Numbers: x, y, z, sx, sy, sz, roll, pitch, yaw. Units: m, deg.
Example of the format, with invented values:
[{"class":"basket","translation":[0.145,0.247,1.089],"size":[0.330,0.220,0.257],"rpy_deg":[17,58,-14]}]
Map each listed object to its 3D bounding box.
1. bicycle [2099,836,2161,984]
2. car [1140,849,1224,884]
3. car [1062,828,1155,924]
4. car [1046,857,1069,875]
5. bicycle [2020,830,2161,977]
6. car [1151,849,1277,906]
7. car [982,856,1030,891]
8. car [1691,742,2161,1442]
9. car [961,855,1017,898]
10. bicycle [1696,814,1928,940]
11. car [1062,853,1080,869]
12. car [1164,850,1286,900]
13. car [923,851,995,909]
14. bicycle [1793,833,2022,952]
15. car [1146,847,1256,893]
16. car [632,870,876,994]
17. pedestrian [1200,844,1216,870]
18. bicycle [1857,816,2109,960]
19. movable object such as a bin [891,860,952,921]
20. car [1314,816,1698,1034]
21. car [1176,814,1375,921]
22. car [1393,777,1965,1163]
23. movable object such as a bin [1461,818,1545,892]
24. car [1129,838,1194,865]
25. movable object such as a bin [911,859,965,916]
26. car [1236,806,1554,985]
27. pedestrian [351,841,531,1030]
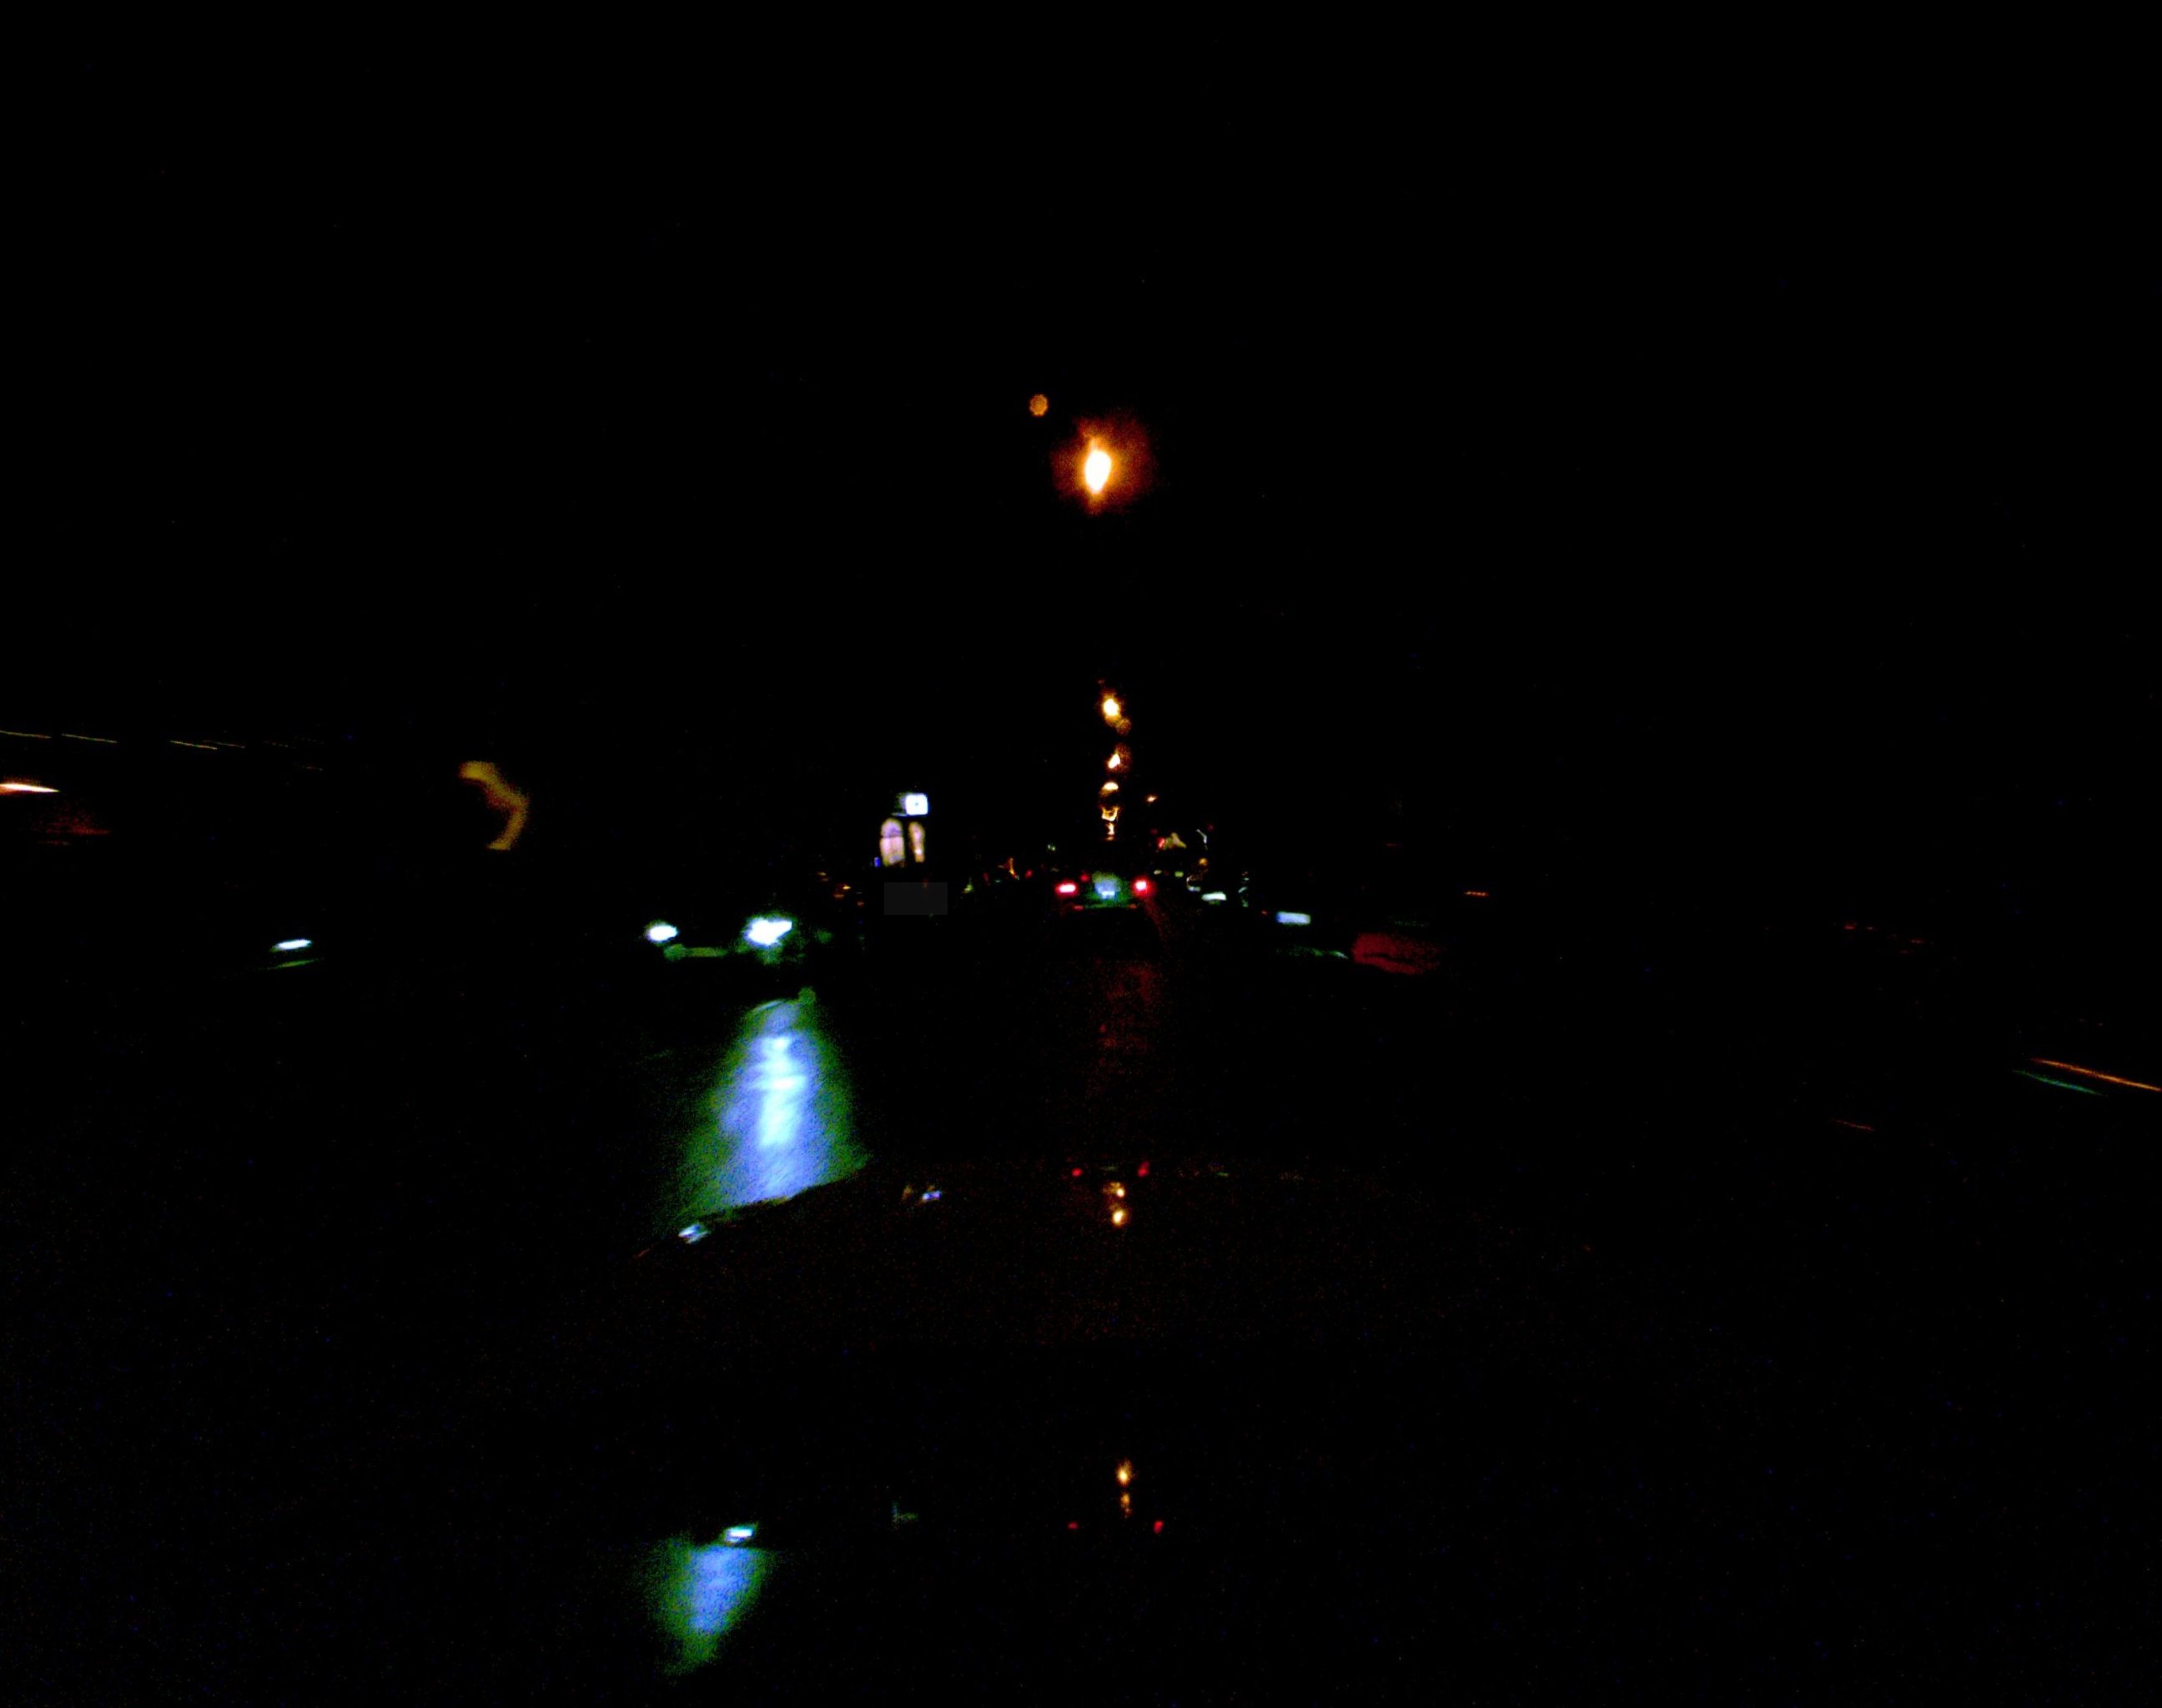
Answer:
[{"class":"bicycle","translation":[8.870,0.349,6.092],"size":[1.968,1.054,0.509],"rpy_deg":[-5,-1,-5]},{"class":"car","translation":[4.844,0.584,38.850],"size":[3.694,1.460,1.589],"rpy_deg":[-3,0,-29]},{"class":"car","translation":[0.681,0.511,19.915],"size":[1.986,2.050,4.002],"rpy_deg":[-2,-1,2]},{"class":"car","translation":[-2.024,1.044,70.420],"size":[1.580,1.482,3.796],"rpy_deg":[-1,0,3]},{"class":"bicycle","translation":[8.924,0.352,6.669],"size":[1.968,1.054,0.509],"rpy_deg":[-5,-1,-5]},{"class":"car","translation":[4.201,0.712,25.594],"size":[3.662,1.542,1.546],"rpy_deg":[-3,-1,-28]},{"class":"car","translation":[-3.390,0.864,37.558],"size":[1.680,1.455,4.317],"rpy_deg":[-1,0,2]},{"class":"car","translation":[4.282,0.516,2.823],"size":[4.070,1.611,1.828],"rpy_deg":[-1,0,-27]},{"class":"car","translation":[-3.534,0.837,31.968],"size":[1.597,1.552,4.027],"rpy_deg":[-1,0,2]},{"class":"bicycle","translation":[8.983,0.282,10.085],"size":[1.960,1.335,0.784],"rpy_deg":[-5,-1,8]},{"class":"car","translation":[-1.074,0.727,86.139],"size":[1.808,1.557,4.074],"rpy_deg":[-1,0,-1]},{"class":"car","translation":[5.190,0.734,29.191],"size":[4.018,1.552,1.978],"rpy_deg":[-3,-1,-36]},{"class":"car","translation":[-3.840,0.788,26.203],"size":[1.597,1.706,3.723],"rpy_deg":[-1,0,2]},{"class":"bicycle","translation":[8.721,0.394,8.621],"size":[1.968,1.054,0.509],"rpy_deg":[-5,-1,-5]},{"class":"car","translation":[4.719,0.604,31.906],"size":[4.015,1.552,1.786],"rpy_deg":[-3,-1,-33]},{"class":"car","translation":[-4.411,0.965,11.760],"size":[1.648,1.359,4.224],"rpy_deg":[-2,0,2]},{"class":"pedestrian","translation":[9.320,0.210,59.800],"size":[0.866,1.856,0.993],"rpy_deg":[-4,0,0]},{"class":"bicycle","translation":[8.806,0.317,7.972],"size":[1.968,1.191,0.509],"rpy_deg":[-5,-1,-5]},{"class":"movable object such as a bin","translation":[-3.914,0.881,20.104],"size":[1.203,1.459,1.108],"rpy_deg":[0,-1,4]},{"class":"car","translation":[4.325,0.544,8.174],"size":[3.787,1.728,1.700],"rpy_deg":[-1,0,-32]},{"class":"car","translation":[4.783,0.264,19.791],"size":[4.745,2.248,1.926],"rpy_deg":[-3,-1,-34]},{"class":"car","translation":[4.047,0.493,5.390],"size":[3.816,1.728,1.724],"rpy_deg":[-1,0,-32]},{"class":"movable object such as a bin","translation":[9.299,0.019,17.986],"size":[1.204,1.451,0.999],"rpy_deg":[-6,-1,2]},{"class":"car","translation":[6.428,-0.206,65.035],"size":[4.813,2.049,2.047],"rpy_deg":[-2,0,-29]},{"class":"movable object such as a bin","translation":[-3.732,0.861,21.333],"size":[1.159,1.459,1.108],"rpy_deg":[0,-1,4]},{"class":"car","translation":[4.274,0.425,10.837],"size":[4.265,1.858,1.699],"rpy_deg":[-4,-1,-34]},{"class":"pedestrian","translation":[-6.384,0.778,8.176],"size":[1.128,1.782,0.788],"rpy_deg":[-2,0,2]}]
